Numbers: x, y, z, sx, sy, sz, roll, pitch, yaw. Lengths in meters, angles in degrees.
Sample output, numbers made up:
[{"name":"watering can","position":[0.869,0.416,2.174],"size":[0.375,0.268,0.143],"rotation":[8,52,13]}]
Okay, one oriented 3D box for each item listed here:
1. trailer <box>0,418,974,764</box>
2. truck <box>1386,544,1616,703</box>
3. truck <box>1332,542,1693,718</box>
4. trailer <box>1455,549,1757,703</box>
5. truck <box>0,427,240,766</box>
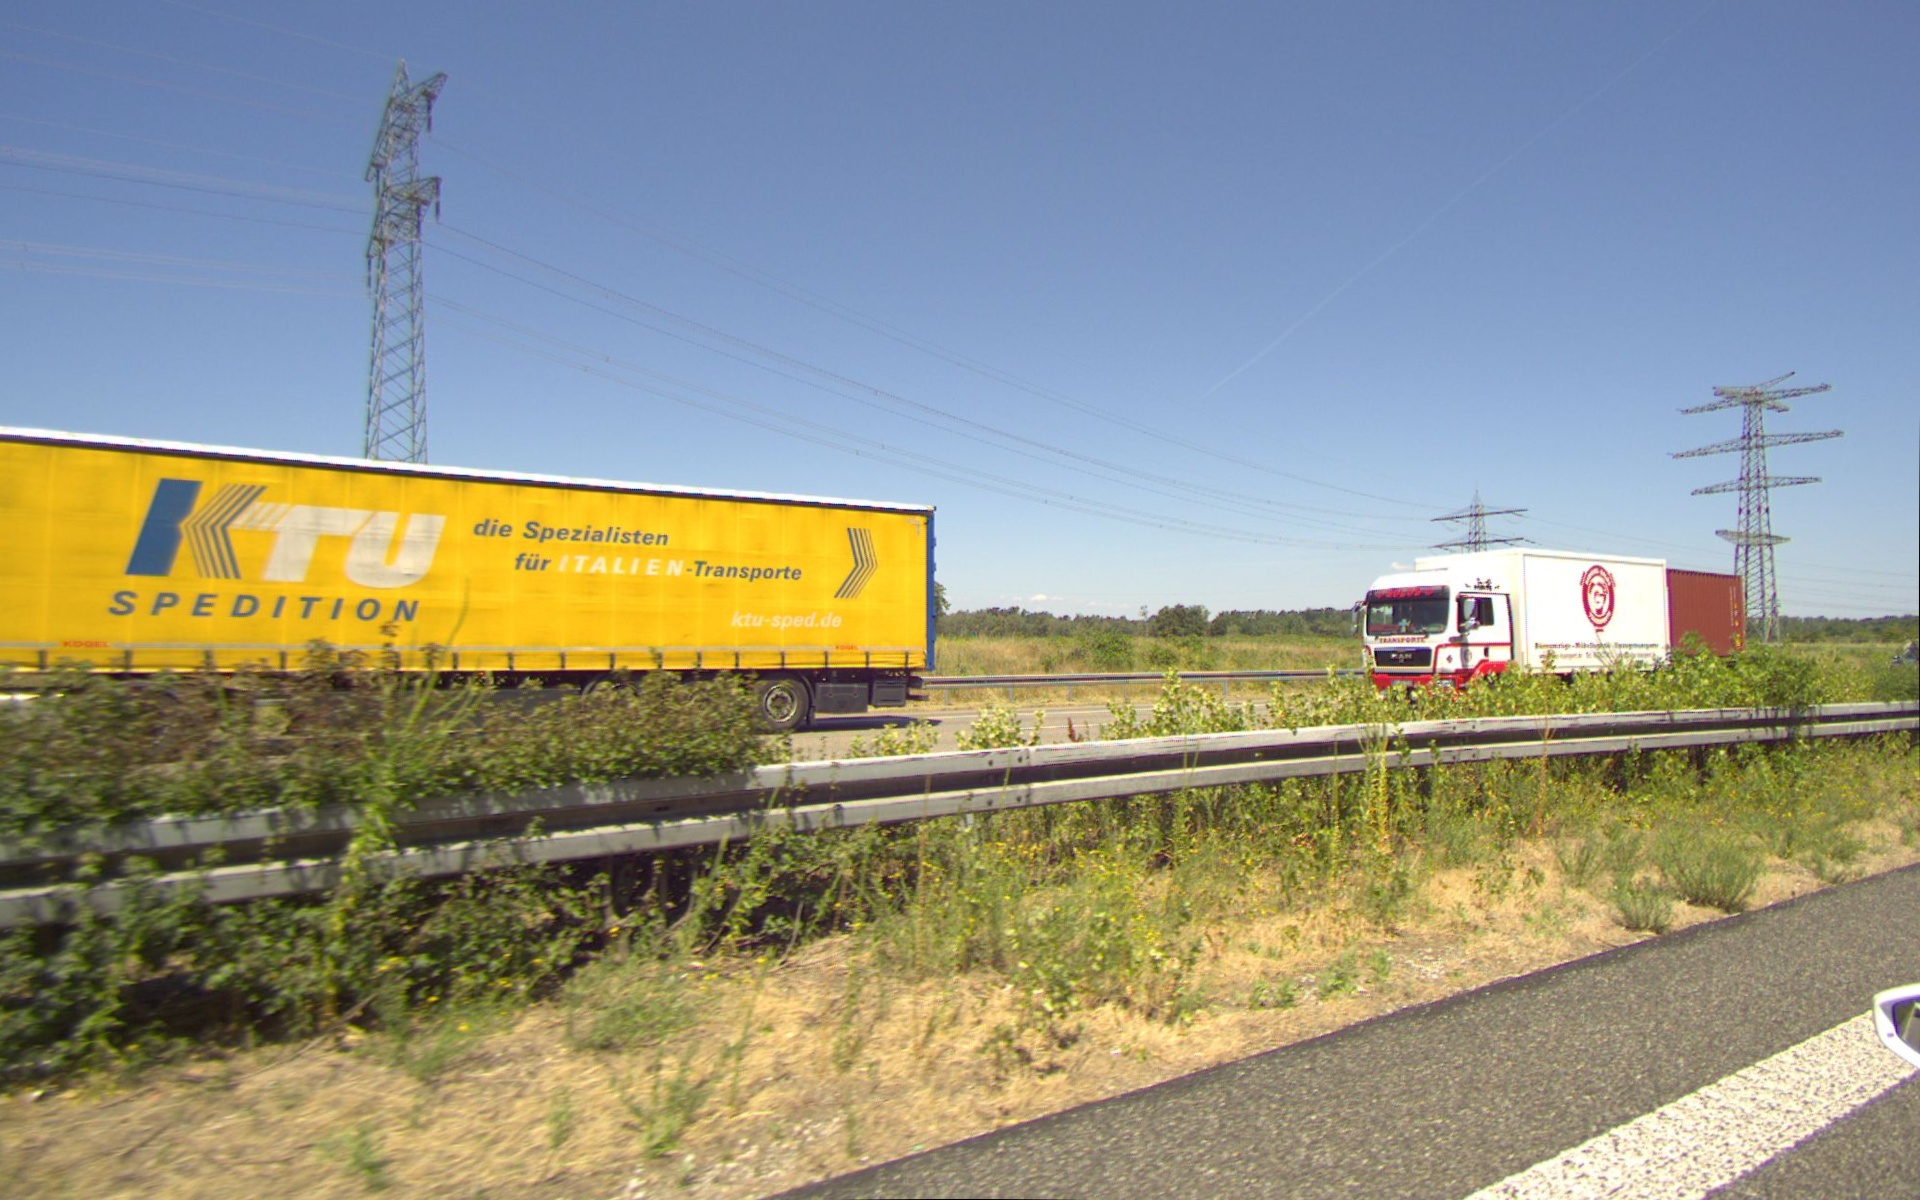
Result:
[{"name":"trailer","position":[-6.432,0.084,16.237],"size":[13.981,4.030,2.836],"rotation":[2,-2,-31]},{"name":"truck","position":[16.031,0.751,29.707],"size":[6.365,4.213,3.197],"rotation":[2,-2,-31]},{"name":"truck","position":[13.021,0.764,23.342],"size":[9.255,3.457,2.924],"rotation":[2,-3,-30]},{"name":"trailer","position":[21.501,0.902,33.019],"size":[12.128,4.363,3.178],"rotation":[2,0,-31]},{"name":"truck","position":[-12.635,-0.025,12.562],"size":[5.555,3.959,2.850],"rotation":[1,-2,-31]}]
